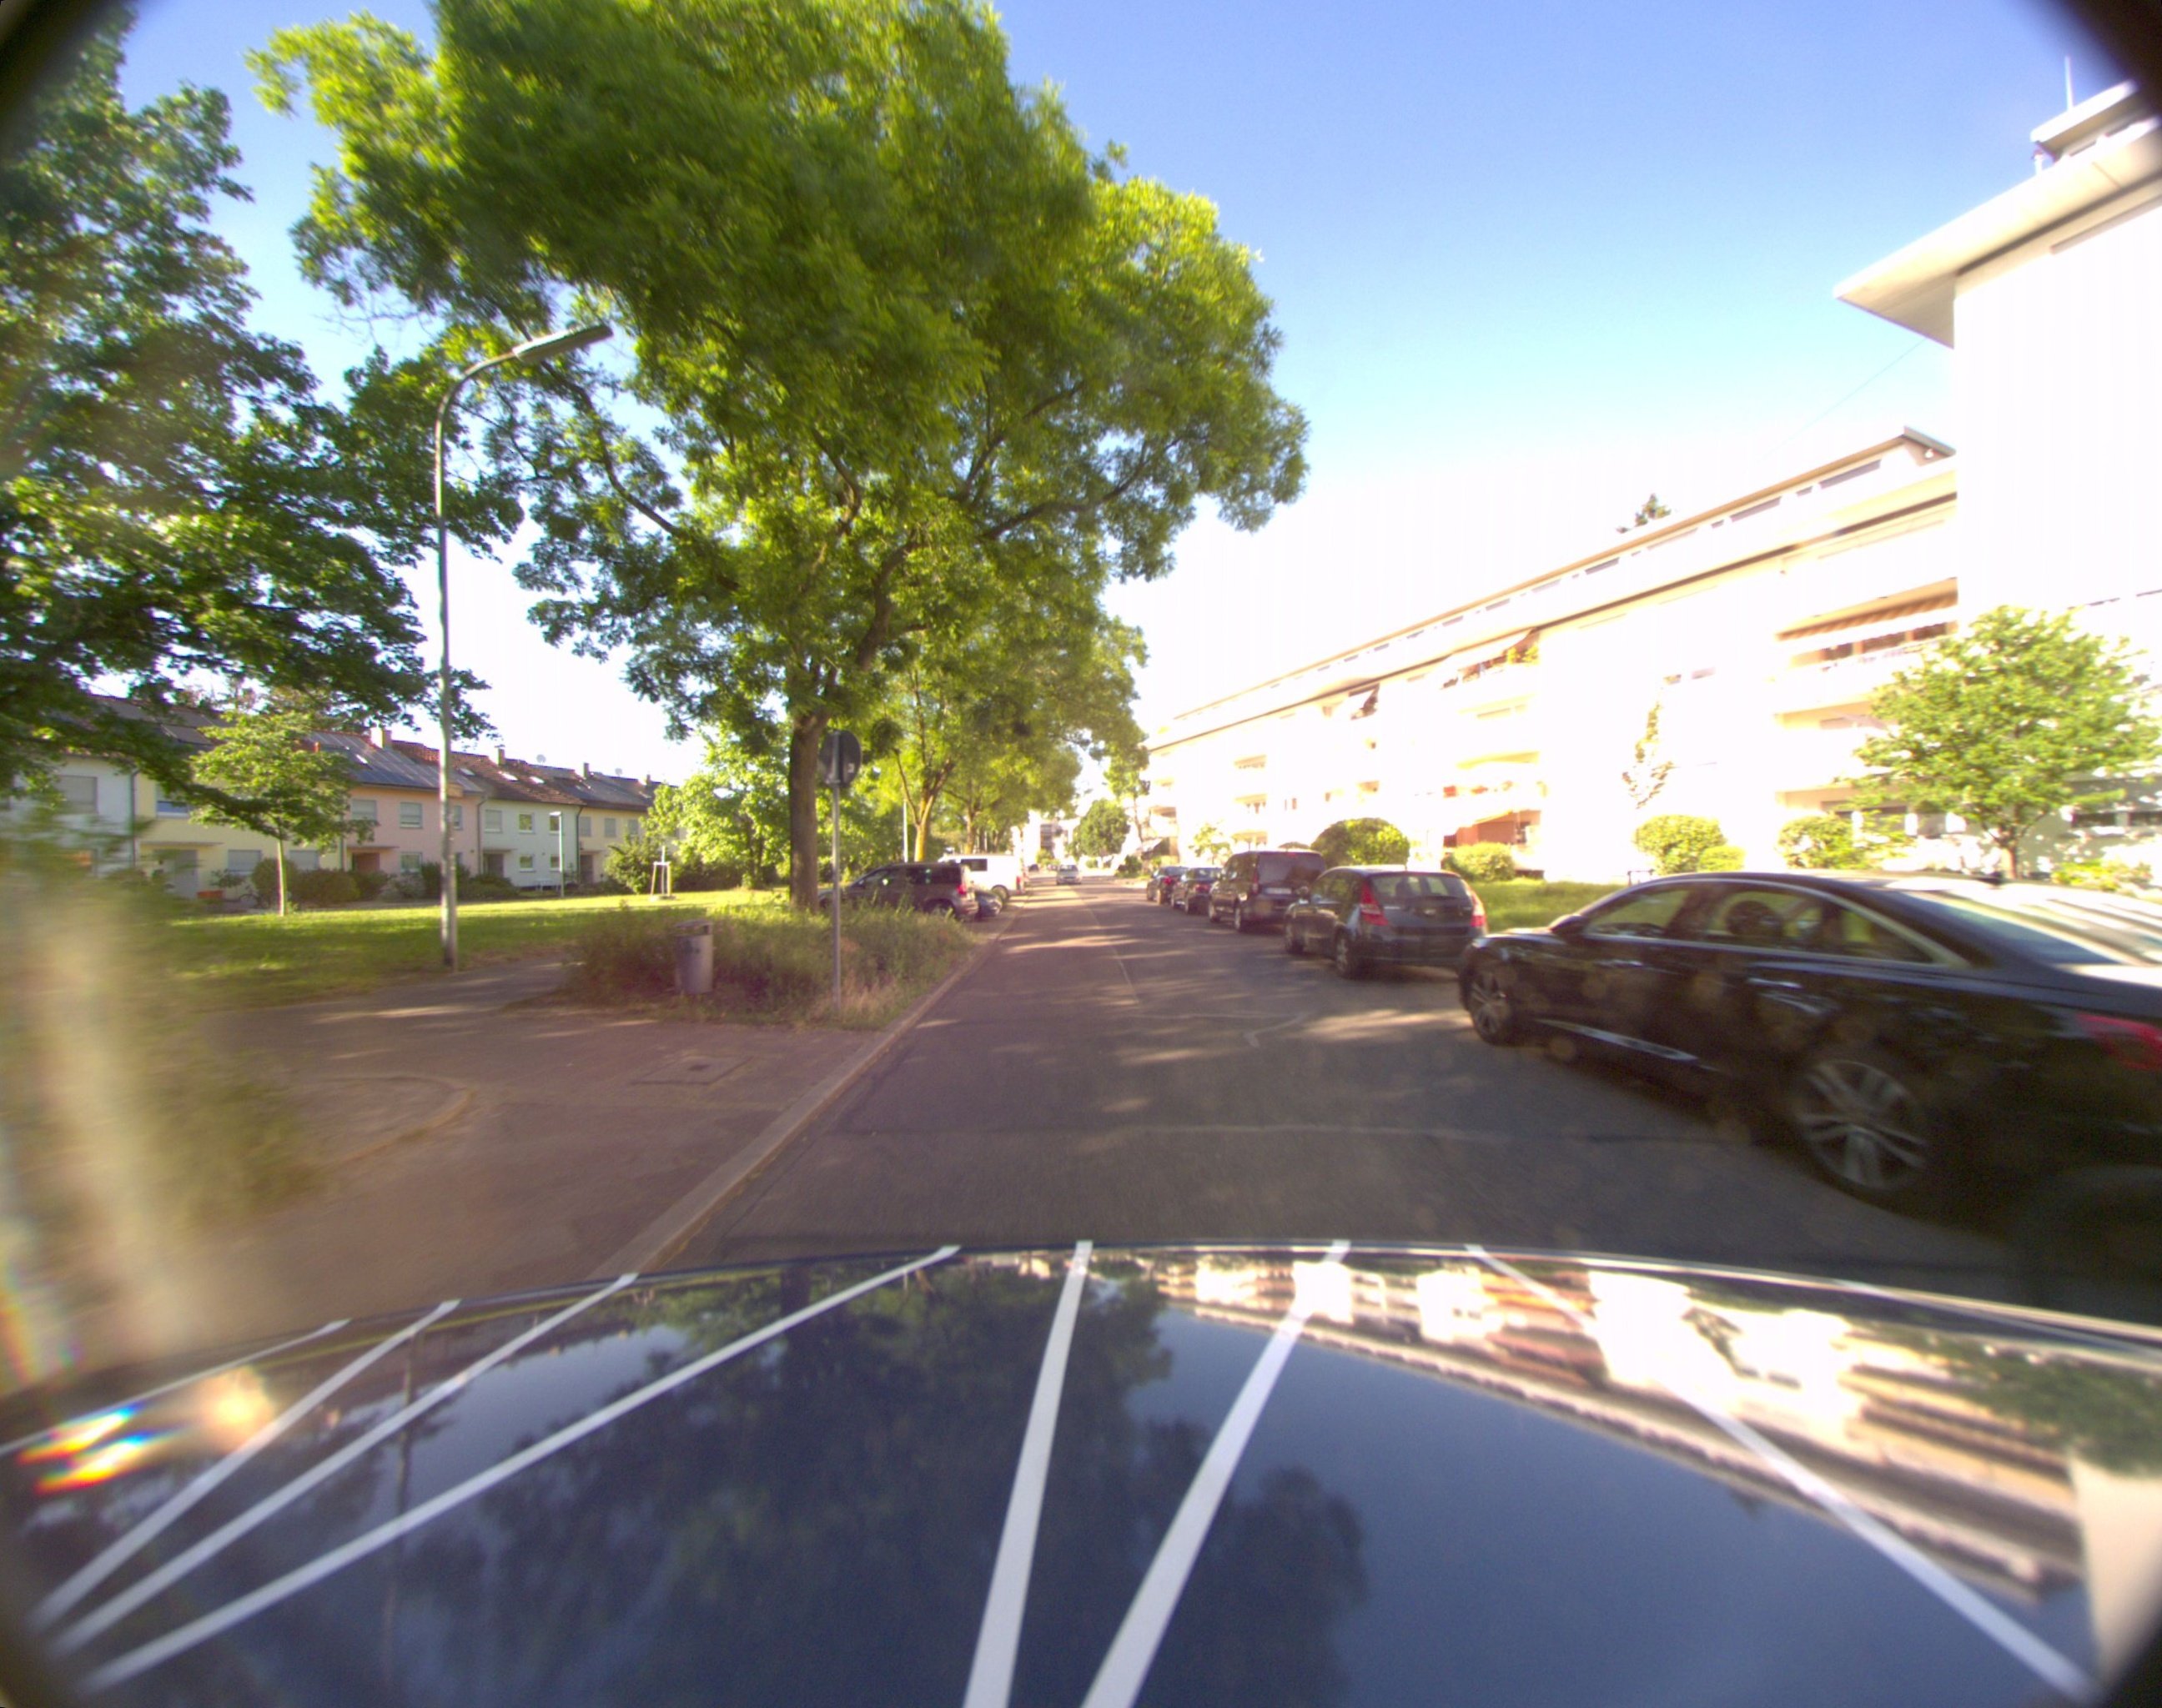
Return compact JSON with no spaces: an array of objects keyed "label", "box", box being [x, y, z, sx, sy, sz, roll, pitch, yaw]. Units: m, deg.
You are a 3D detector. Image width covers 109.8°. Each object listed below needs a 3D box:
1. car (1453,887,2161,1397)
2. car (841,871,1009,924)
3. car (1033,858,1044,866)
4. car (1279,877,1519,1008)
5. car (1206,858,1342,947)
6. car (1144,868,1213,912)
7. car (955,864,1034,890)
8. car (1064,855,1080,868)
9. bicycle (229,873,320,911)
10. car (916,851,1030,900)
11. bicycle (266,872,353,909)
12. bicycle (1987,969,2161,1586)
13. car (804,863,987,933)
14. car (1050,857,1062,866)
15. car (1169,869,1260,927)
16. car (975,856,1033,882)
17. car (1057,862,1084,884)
[{"label":"car","box":[4.180,0.986,4.369,1.732,1.455,4.682,0,-1,-1]},{"label":"car","box":[-4.372,1.217,21.768,4.463,1.406,1.774,0,0,-2]},{"label":"car","box":[-9.129,1.680,162.501,1.796,1.535,4.048,-4,0,-12]},{"label":"car","box":[4.257,1.099,10.939,1.844,1.445,4.019,1,0,1]},{"label":"car","box":[4.269,0.984,17.677,1.845,1.770,4.887,0,0,-1]},{"label":"car","box":[3.653,1.321,29.318,1.845,1.473,4.799,0,0,-3]},{"label":"car","box":[-4.982,1.317,44.222,4.492,1.463,1.745,-1,0,-4]},{"label":"car","box":[-1.364,1.078,115.310,2.008,1.837,4.614,-3,0,-6]},{"label":"bicycle","box":[-34.178,1.596,32.222,2.917,1.465,0.824,-2,0,0]},{"label":"car","box":[-4.450,0.879,31.828,4.463,2.004,2.021,0,0,0]},{"label":"bicycle","box":[-33.654,1.591,33.166,2.917,1.435,0.824,-2,0,0]},{"label":"bicycle","box":[2.886,0.993,0.457,0.853,1.362,3.220,-1,0,0]},{"label":"car","box":[-4.573,1.073,19.189,4.158,1.685,1.775,0,0,1]},{"label":"car","box":[-4.411,1.315,133.990,1.694,1.661,4.049,-2,0,-7]},{"label":"car","box":[4.017,1.286,23.617,1.845,1.473,4.574,2,0,-2]},{"label":"car","box":[-5.473,1.049,54.309,4.053,1.753,1.745,-1,0,-3]},{"label":"car","box":[-0.775,1.321,53.646,1.597,1.417,4.169,1,0,-5]}]
